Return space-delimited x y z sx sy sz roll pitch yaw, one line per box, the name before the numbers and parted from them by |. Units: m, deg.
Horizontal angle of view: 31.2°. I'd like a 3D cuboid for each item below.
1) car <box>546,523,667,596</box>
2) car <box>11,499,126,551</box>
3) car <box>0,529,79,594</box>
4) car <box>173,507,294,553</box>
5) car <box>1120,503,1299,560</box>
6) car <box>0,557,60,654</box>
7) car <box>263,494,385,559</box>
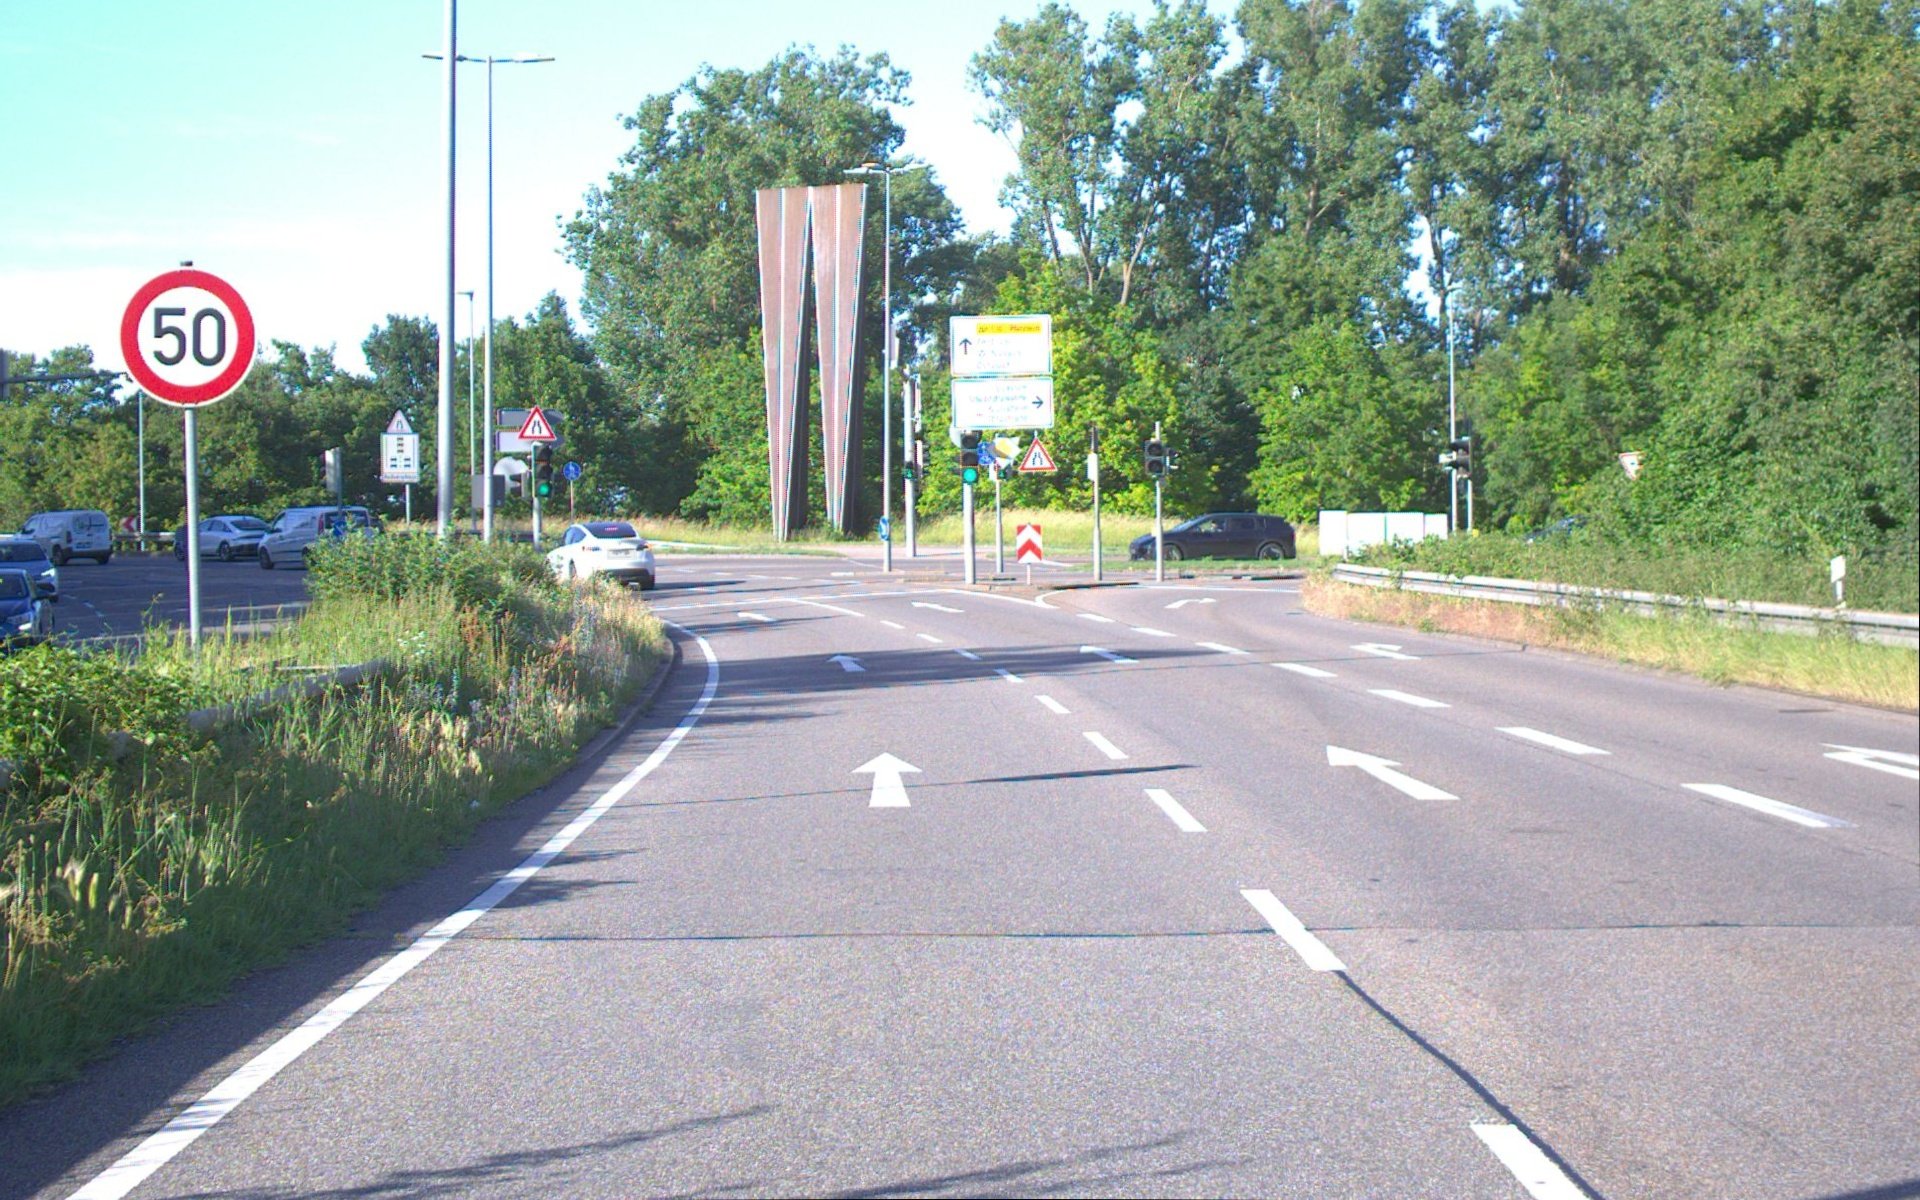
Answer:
car | -8.467 -1.001 82.006 1.993 1.634 4.129 -2 2 -18
car | -30.360 -2.571 117.081 3.997 1.692 1.970 1 3 44
car | -23.294 -0.991 86.511 1.885 1.515 4.218 -2 2 -18
car | -24.360 -2.348 115.213 4.152 1.469 1.970 1 3 45
car | 6.713 -1.860 92.616 4.457 1.459 2.001 -1 2 -9
car | -15.116 0.086 53.345 1.885 1.415 4.365 -3 1 -11
car | -19.082 -2.212 103.060 1.994 1.873 4.249 -2 2 -34
